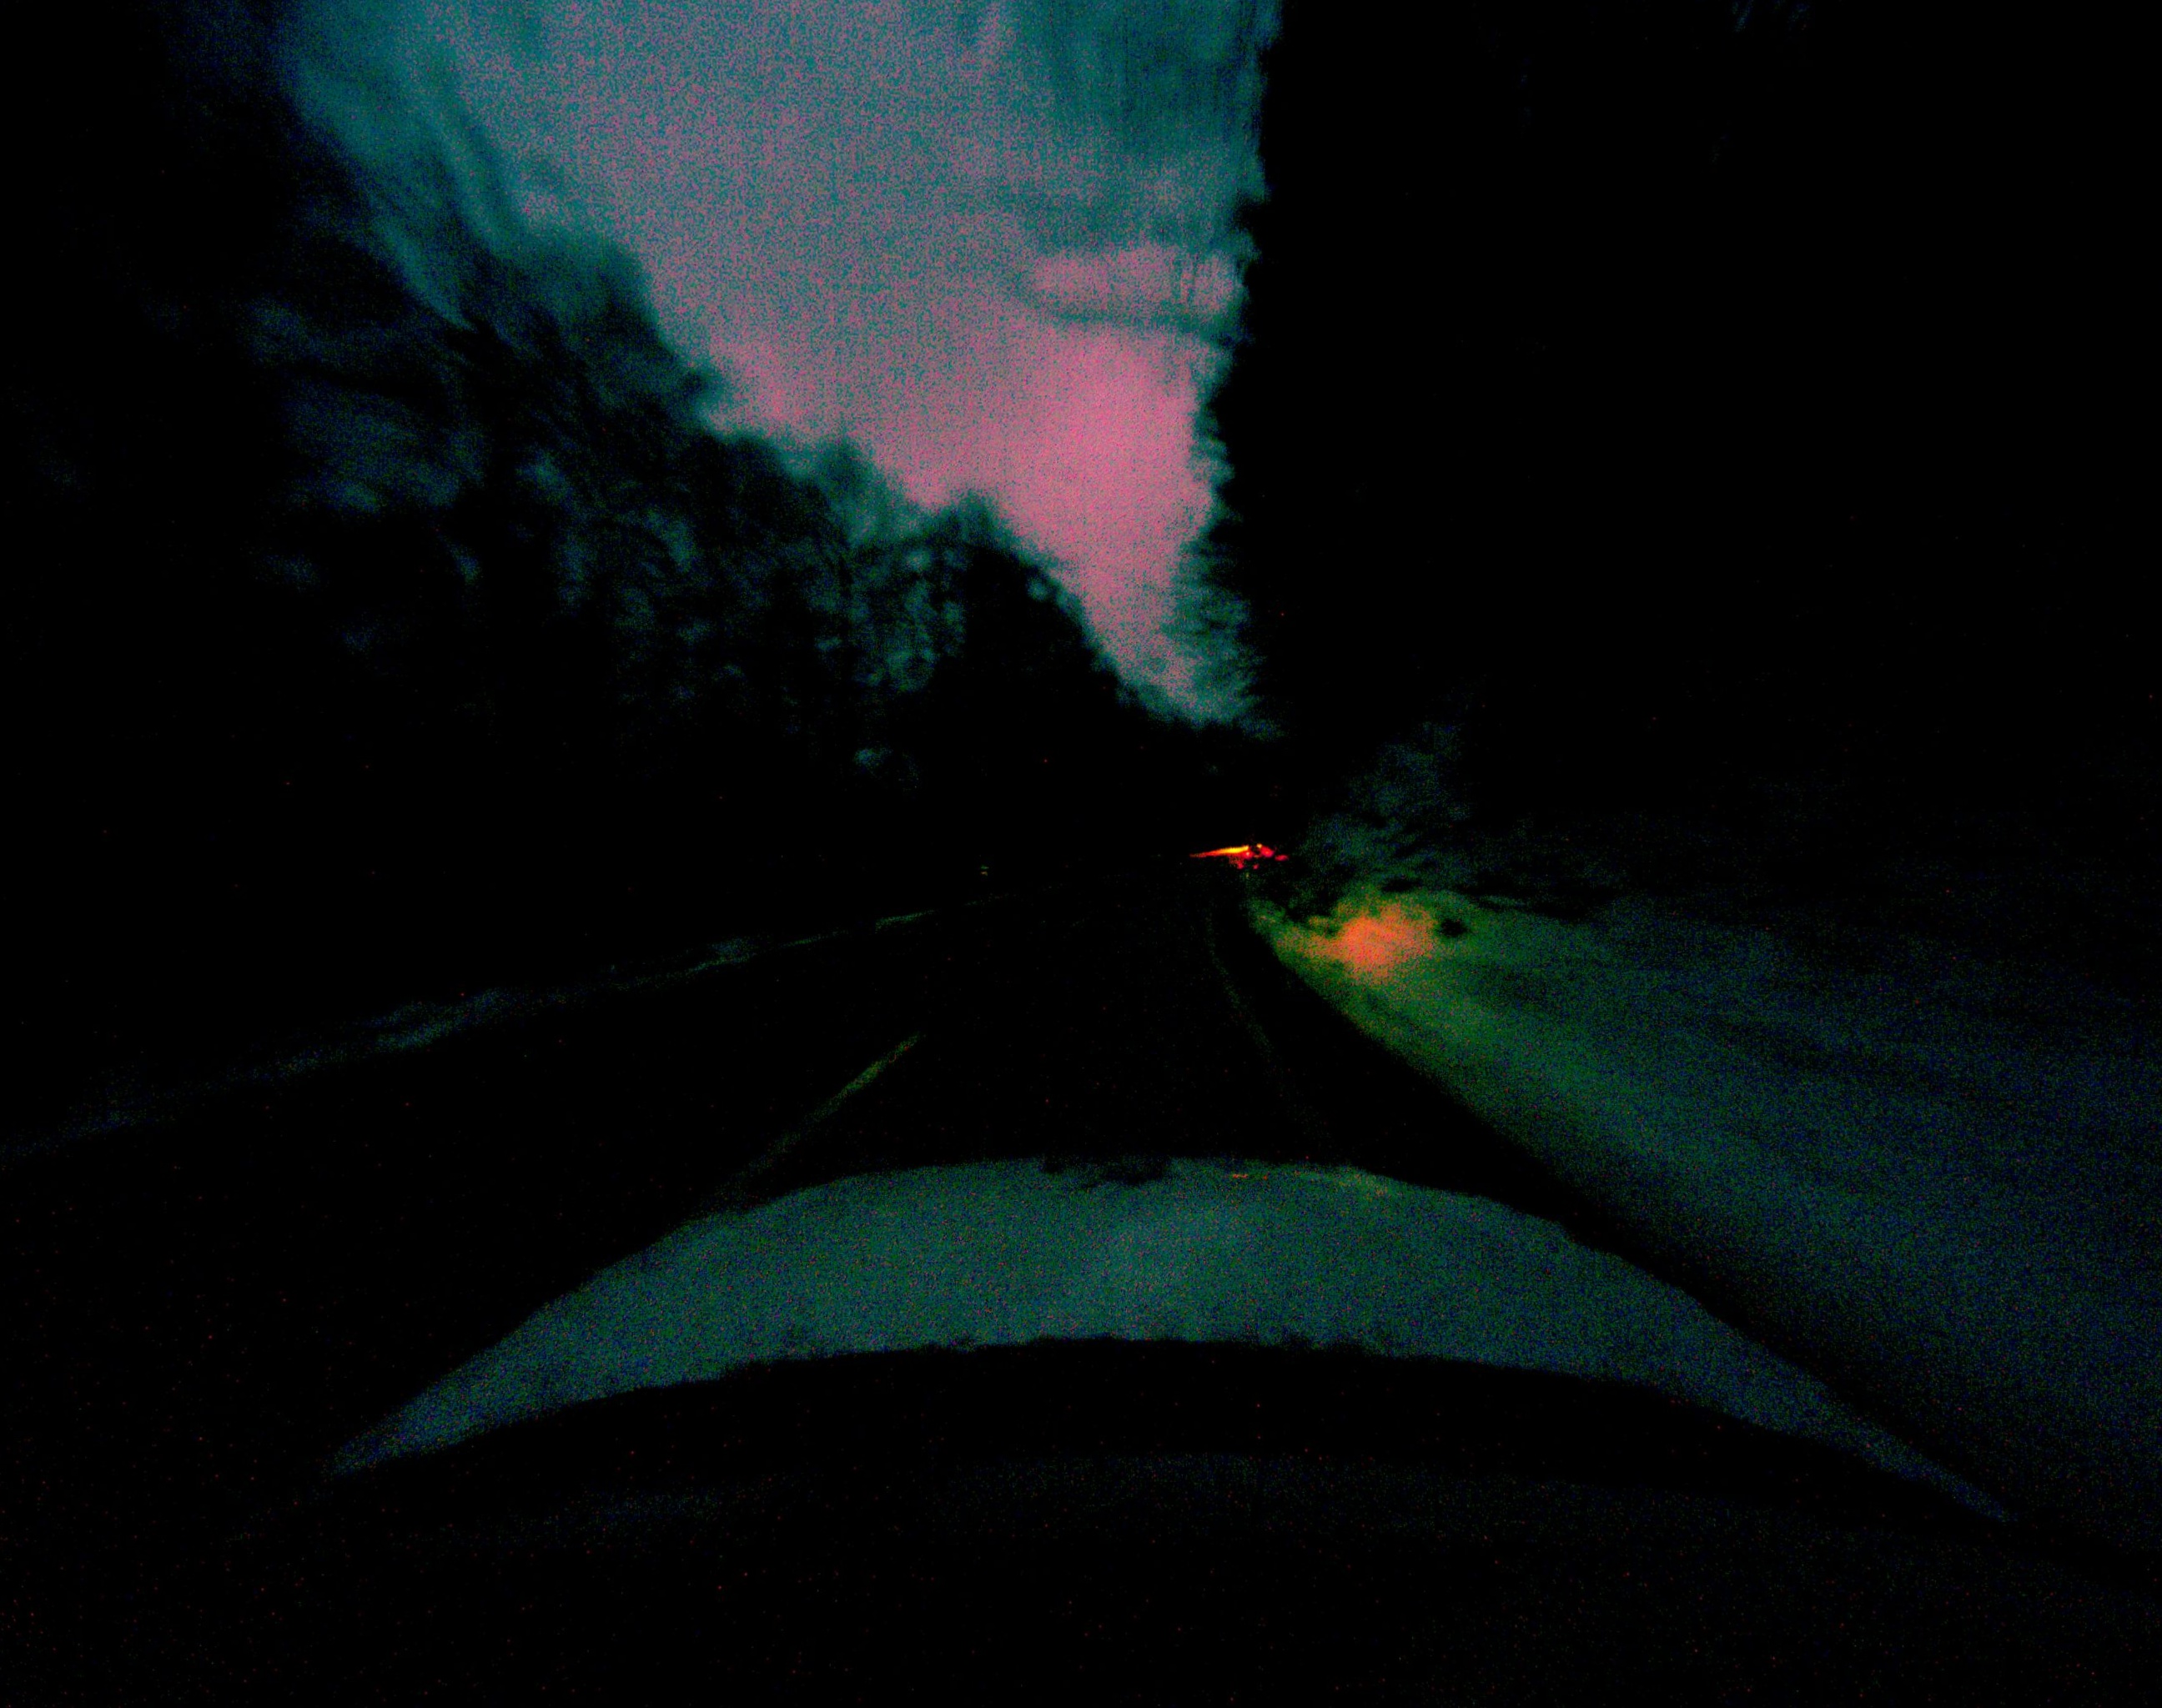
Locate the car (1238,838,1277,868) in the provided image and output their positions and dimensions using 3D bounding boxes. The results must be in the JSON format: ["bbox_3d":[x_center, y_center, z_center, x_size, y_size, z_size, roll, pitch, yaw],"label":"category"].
[{"bbox_3d":[11.800,-0.056,54.329,1.977,1.872,4.020,-2,-1,19],"label":"car"}]

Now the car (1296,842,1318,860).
[{"bbox_3d":[25.038,-0.326,90.109,1.851,1.918,4.021,0,-2,23],"label":"car"}]
